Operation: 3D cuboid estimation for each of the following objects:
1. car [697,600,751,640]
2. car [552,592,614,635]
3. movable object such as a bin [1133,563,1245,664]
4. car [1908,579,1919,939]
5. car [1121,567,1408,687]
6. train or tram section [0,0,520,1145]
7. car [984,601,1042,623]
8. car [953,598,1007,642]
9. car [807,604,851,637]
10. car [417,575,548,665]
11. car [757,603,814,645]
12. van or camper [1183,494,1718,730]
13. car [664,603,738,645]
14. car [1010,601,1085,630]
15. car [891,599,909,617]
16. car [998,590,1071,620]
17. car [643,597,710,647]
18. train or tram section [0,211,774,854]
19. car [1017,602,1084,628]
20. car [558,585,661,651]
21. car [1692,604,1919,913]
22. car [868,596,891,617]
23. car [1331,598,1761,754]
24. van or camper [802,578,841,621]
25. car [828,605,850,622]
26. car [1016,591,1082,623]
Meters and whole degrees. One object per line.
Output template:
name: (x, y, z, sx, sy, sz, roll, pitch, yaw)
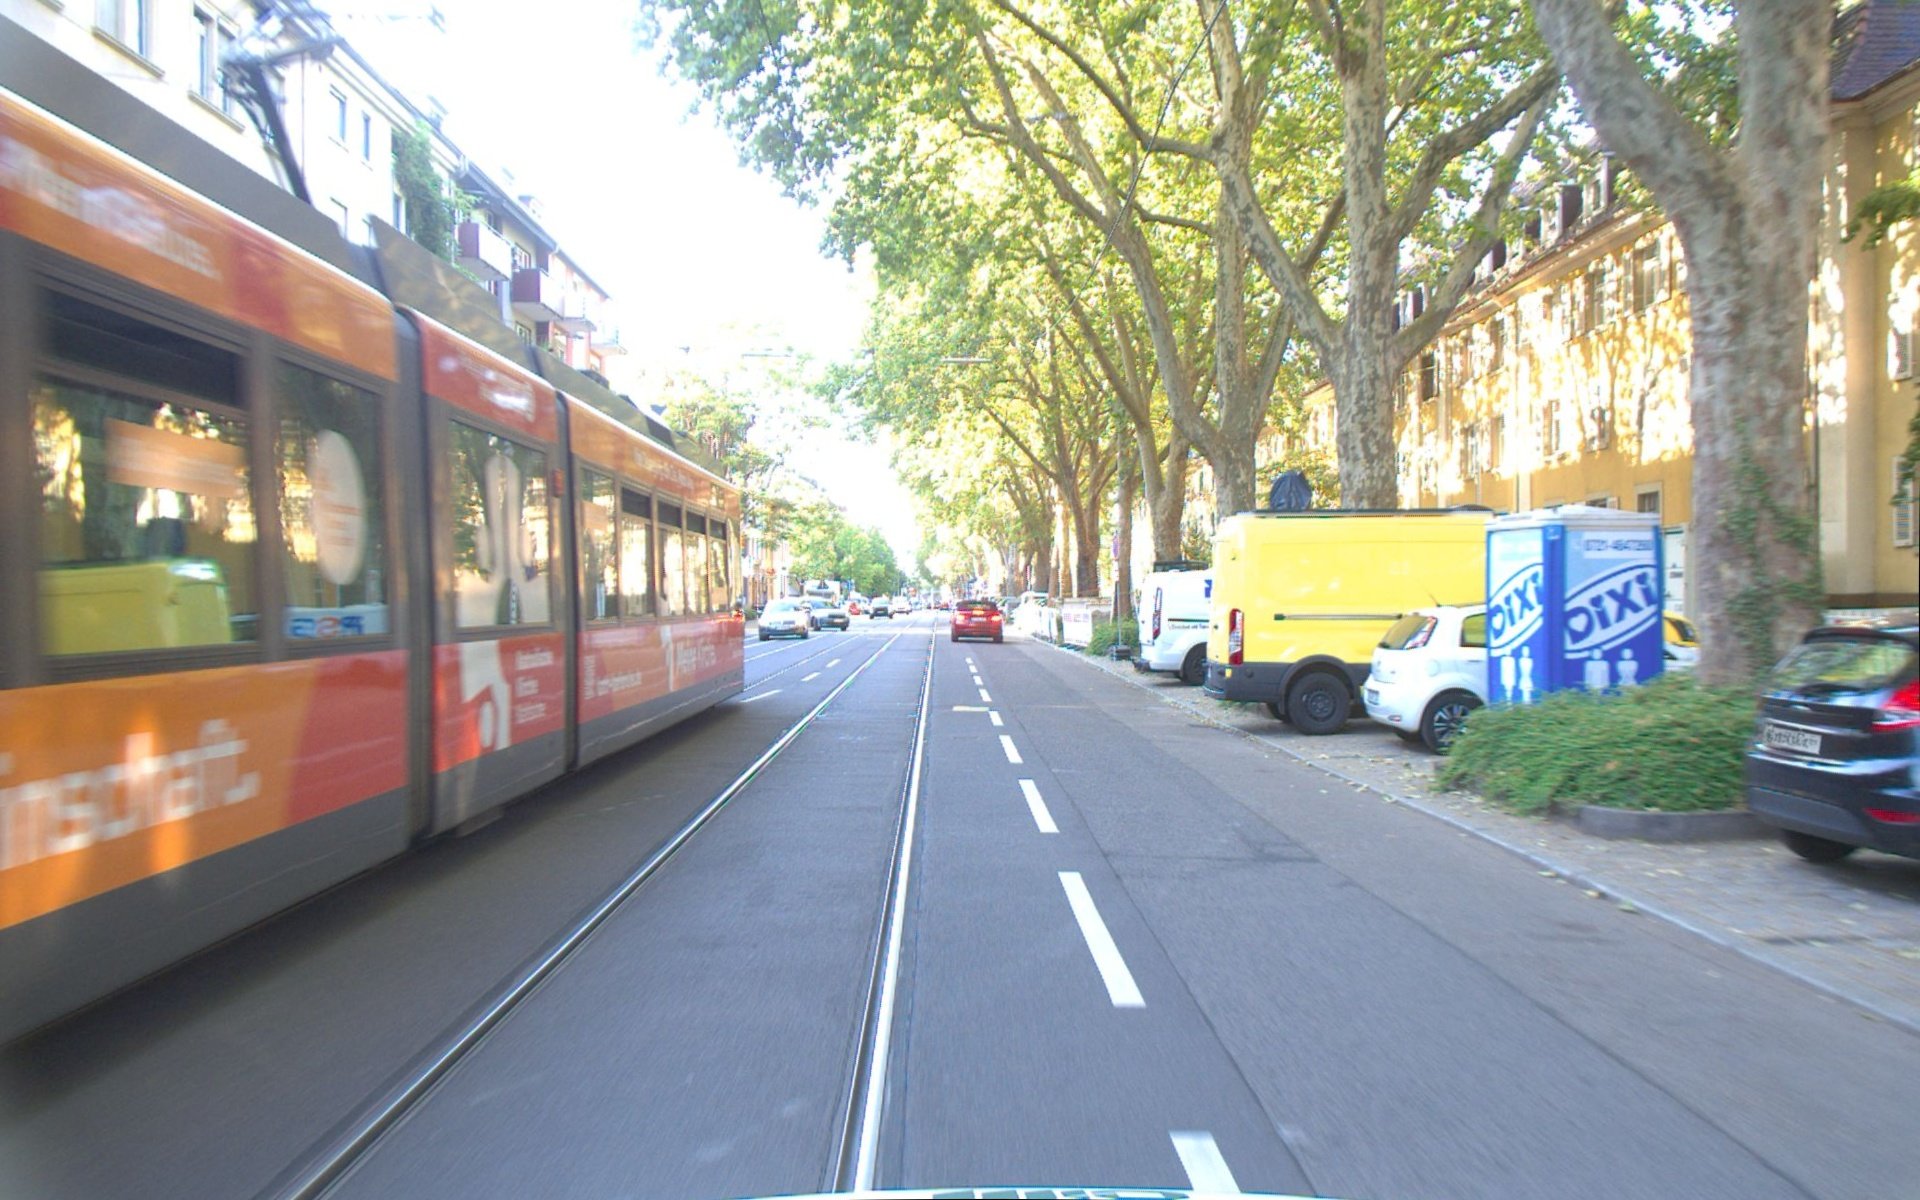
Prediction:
car: (-9.592, 0.787, 67.468, 1.690, 1.509, 3.929, 3, 0, -2)
car: (-19.920, 0.708, 87.251, 1.971, 2.160, 4.678, 1, -1, -29)
movable object such as a bin: (5.543, 0.315, 39.739, 1.455, 2.309, 3.268, 0, 0, 32)
car: (6.199, 0.657, 6.419, 3.994, 1.577, 1.830, -1, 0, -2)
car: (5.351, 0.465, 29.568, 4.736, 2.048, 2.063, 0, 0, -1)
train or tram section: (-3.794, -0.421, 2.533, 2.849, 3.547, 13.366, 0, 0, -1)
car: (4.164, 0.942, 129.670, 4.402, 1.630, 2.028, -2, -1, 3)
car: (0.660, 0.662, 56.592, 1.756, 1.413, 4.236, 1, 0, 0)
car: (-6.110, 0.939, 77.741, 1.759, 1.471, 4.052, -1, 0, -1)
car: (-10.122, 0.403, 35.403, 1.753, 1.802, 4.467, 0, 0, -4)
car: (-6.633, 0.879, 63.119, 1.759, 1.471, 4.715, 2, 0, -2)
van or camper: (5.733, 0.163, 19.992, 5.803, 2.675, 2.270, 0, -1, 1)
car: (-9.664, 0.860, 62.054, 1.912, 1.419, 4.862, 3, 0, 0)
car: (4.770, 0.876, 90.566, 4.005, 1.548, 1.916, 0, -1, -2)
car: (-6.485, 0.872, 178.436, 1.853, 1.864, 4.894, 0, 0, -1)
car: (4.944, 0.342, 110.526, 4.740, 1.998, 2.063, 0, -1, -3)
car: (-9.737, 0.736, 57.028, 1.783, 1.614, 4.003, 1, 0, -3)
train or tram section: (-3.960, -0.352, 16.240, 2.849, 3.547, 14.195, 0, 0, -1)
car: (5.086, 0.848, 93.067, 3.764, 1.458, 1.852, 0, 0, 3)
car: (-9.718, 0.502, 46.203, 1.913, 1.677, 4.879, 2, -1, -2)
car: (6.118, 0.740, 8.910, 3.581, 1.451, 1.736, -1, 0, -4)
car: (-6.486, 0.518, 133.428, 1.816, 1.628, 4.462, 0, 0, -2)
car: (5.955, 0.745, 17.169, 3.825, 1.515, 1.863, 0, 0, 1)
van or camper: (-10.708, 0.007, 128.052, 2.290, 3.094, 6.397, 3, 0, 0)
car: (-11.046, 1.226, 151.246, 1.799, 1.494, 5.066, 3, 0, -3)
car: (5.122, 0.397, 95.035, 3.764, 1.803, 1.917, 0, -1, 3)
